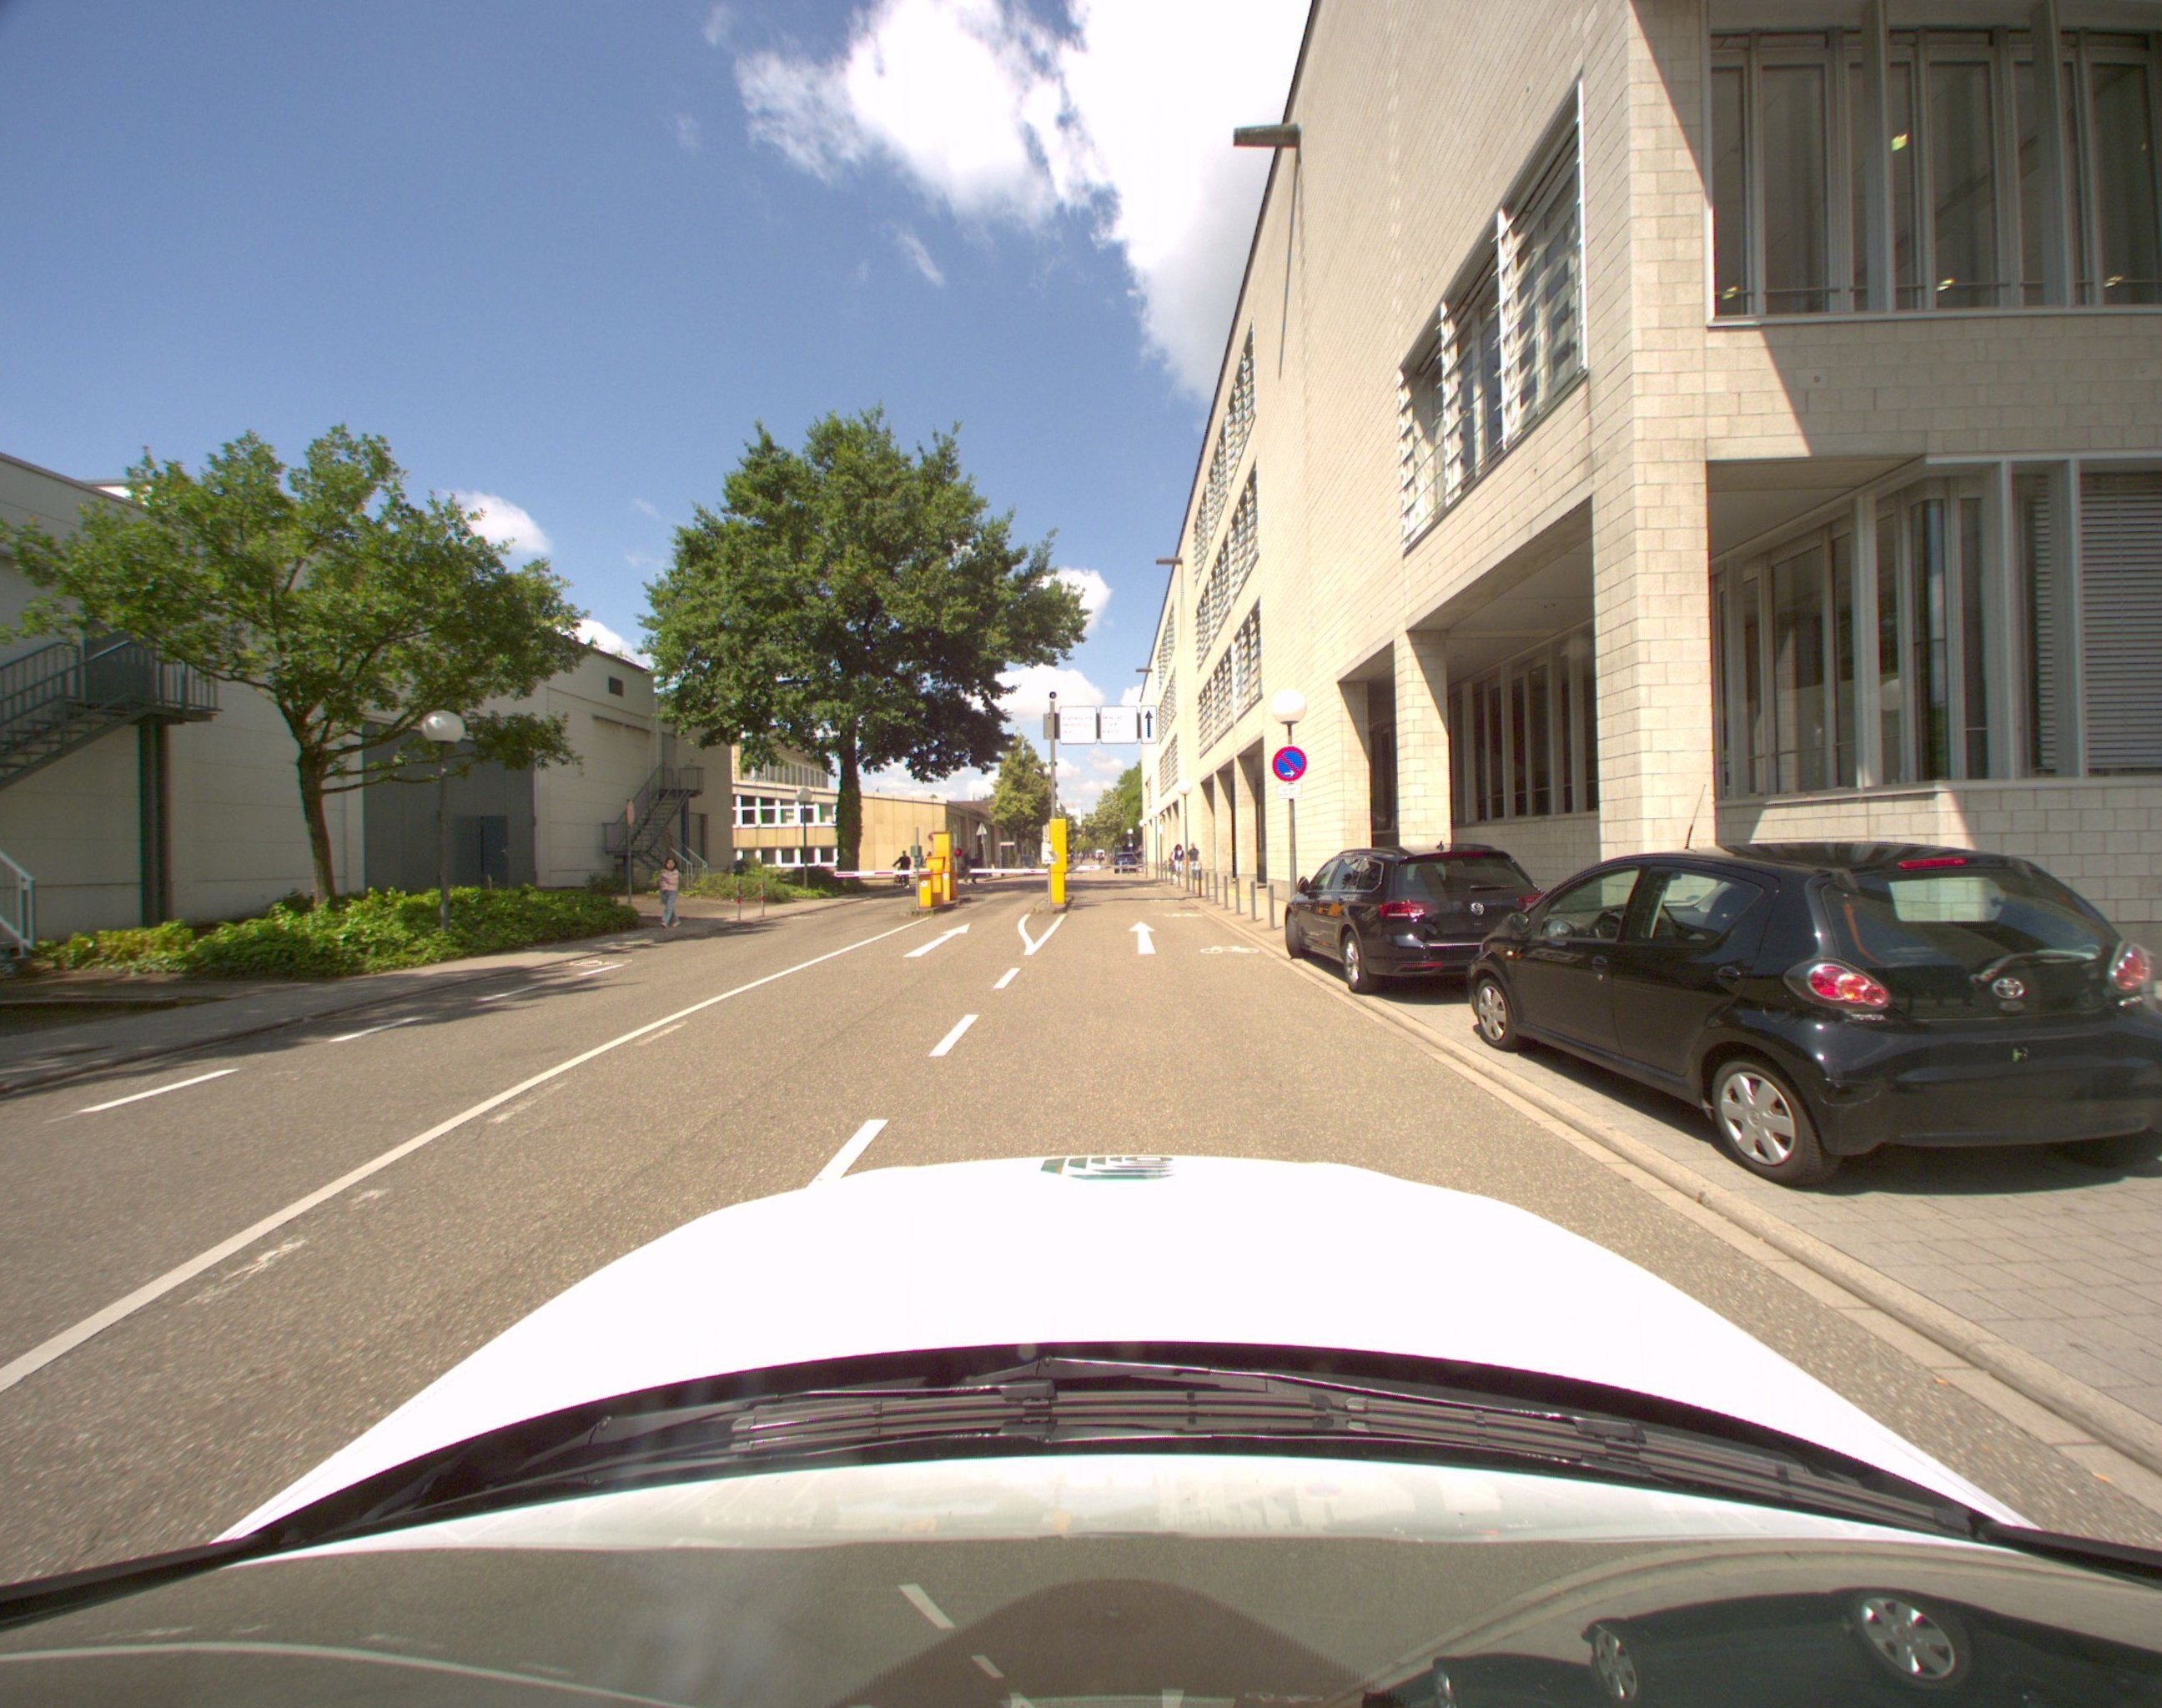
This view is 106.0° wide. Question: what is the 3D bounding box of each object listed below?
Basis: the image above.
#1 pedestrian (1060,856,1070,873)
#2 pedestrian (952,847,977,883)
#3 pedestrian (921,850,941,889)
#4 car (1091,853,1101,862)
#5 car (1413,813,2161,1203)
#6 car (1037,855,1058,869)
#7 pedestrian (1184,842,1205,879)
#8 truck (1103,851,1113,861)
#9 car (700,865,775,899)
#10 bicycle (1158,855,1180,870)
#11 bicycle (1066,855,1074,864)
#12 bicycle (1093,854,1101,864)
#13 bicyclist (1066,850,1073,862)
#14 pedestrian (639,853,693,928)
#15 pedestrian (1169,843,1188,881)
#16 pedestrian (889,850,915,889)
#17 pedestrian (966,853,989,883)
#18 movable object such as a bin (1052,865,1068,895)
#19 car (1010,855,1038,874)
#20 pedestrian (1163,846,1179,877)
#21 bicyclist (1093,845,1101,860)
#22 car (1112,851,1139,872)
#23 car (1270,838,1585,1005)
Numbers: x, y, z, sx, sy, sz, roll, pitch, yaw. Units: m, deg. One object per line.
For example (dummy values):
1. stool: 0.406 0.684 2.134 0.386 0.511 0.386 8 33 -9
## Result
1. pedestrian: -1.470 0.981 75.591 0.891 1.632 0.887 -1 -1 -1
2. pedestrian: -6.273 0.606 43.916 0.876 1.925 1.012 -2 -1 38
3. pedestrian: -7.249 0.746 39.406 0.703 1.809 1.001 -2 0 0
4. car: 3.261 0.718 174.057 1.985 1.720 4.003 -2 -2 4
5. car: 3.756 0.601 5.210 1.609 1.496 4.006 -1 0 0
6. car: -3.825 0.895 93.334 1.986 1.545 4.213 -1 0 2
7. pedestrian: 5.520 0.310 39.673 0.764 1.780 0.910 -3 0 0
8. truck: 5.603 0.454 168.981 1.987 2.014 3.998 -2 -2 0
9. car: -16.867 1.325 40.253 1.823 1.466 4.299 -1 0 0
10. bicycle: 6.608 0.644 60.937 1.535 1.066 0.649 -2 0 9
11. bicycle: -1.786 0.952 130.963 0.987 1.316 2.955 -1 -2 -8
12. bicycle: 2.249 0.713 113.586 0.984 1.316 2.964 -2 -2 1
13. bicyclist: -1.806 0.312 130.945 0.987 1.884 1.032 -1 -2 -10
14. pedestrian: -9.245 0.795 18.185 0.711 1.627 0.883 -1 0 0
15. pedestrian: 4.745 0.374 39.602 0.692 1.780 1.085 -3 0 0
16. pedestrian: -8.656 0.742 39.392 1.052 1.815 0.806 -2 0 0
17. pedestrian: -5.685 0.756 44.760 0.876 1.632 0.902 -2 -1 38
18. movable object such as a bin: -0.645 0.803 25.120 0.414 0.905 0.353 -1 0 5
19. car: -4.933 0.877 71.301 1.986 1.545 4.213 -1 0 2
20. pedestrian: 4.953 0.400 44.918 0.739 1.632 0.887 -3 0 0
21. bicyclist: 2.204 -0.191 113.410 0.984 2.132 1.036 -2 -2 0
22. car: 3.469 0.587 64.053 1.986 1.545 4.213 -1 0 2
23. car: 3.668 0.611 9.649 1.859 1.464 4.521 -1 0 1
